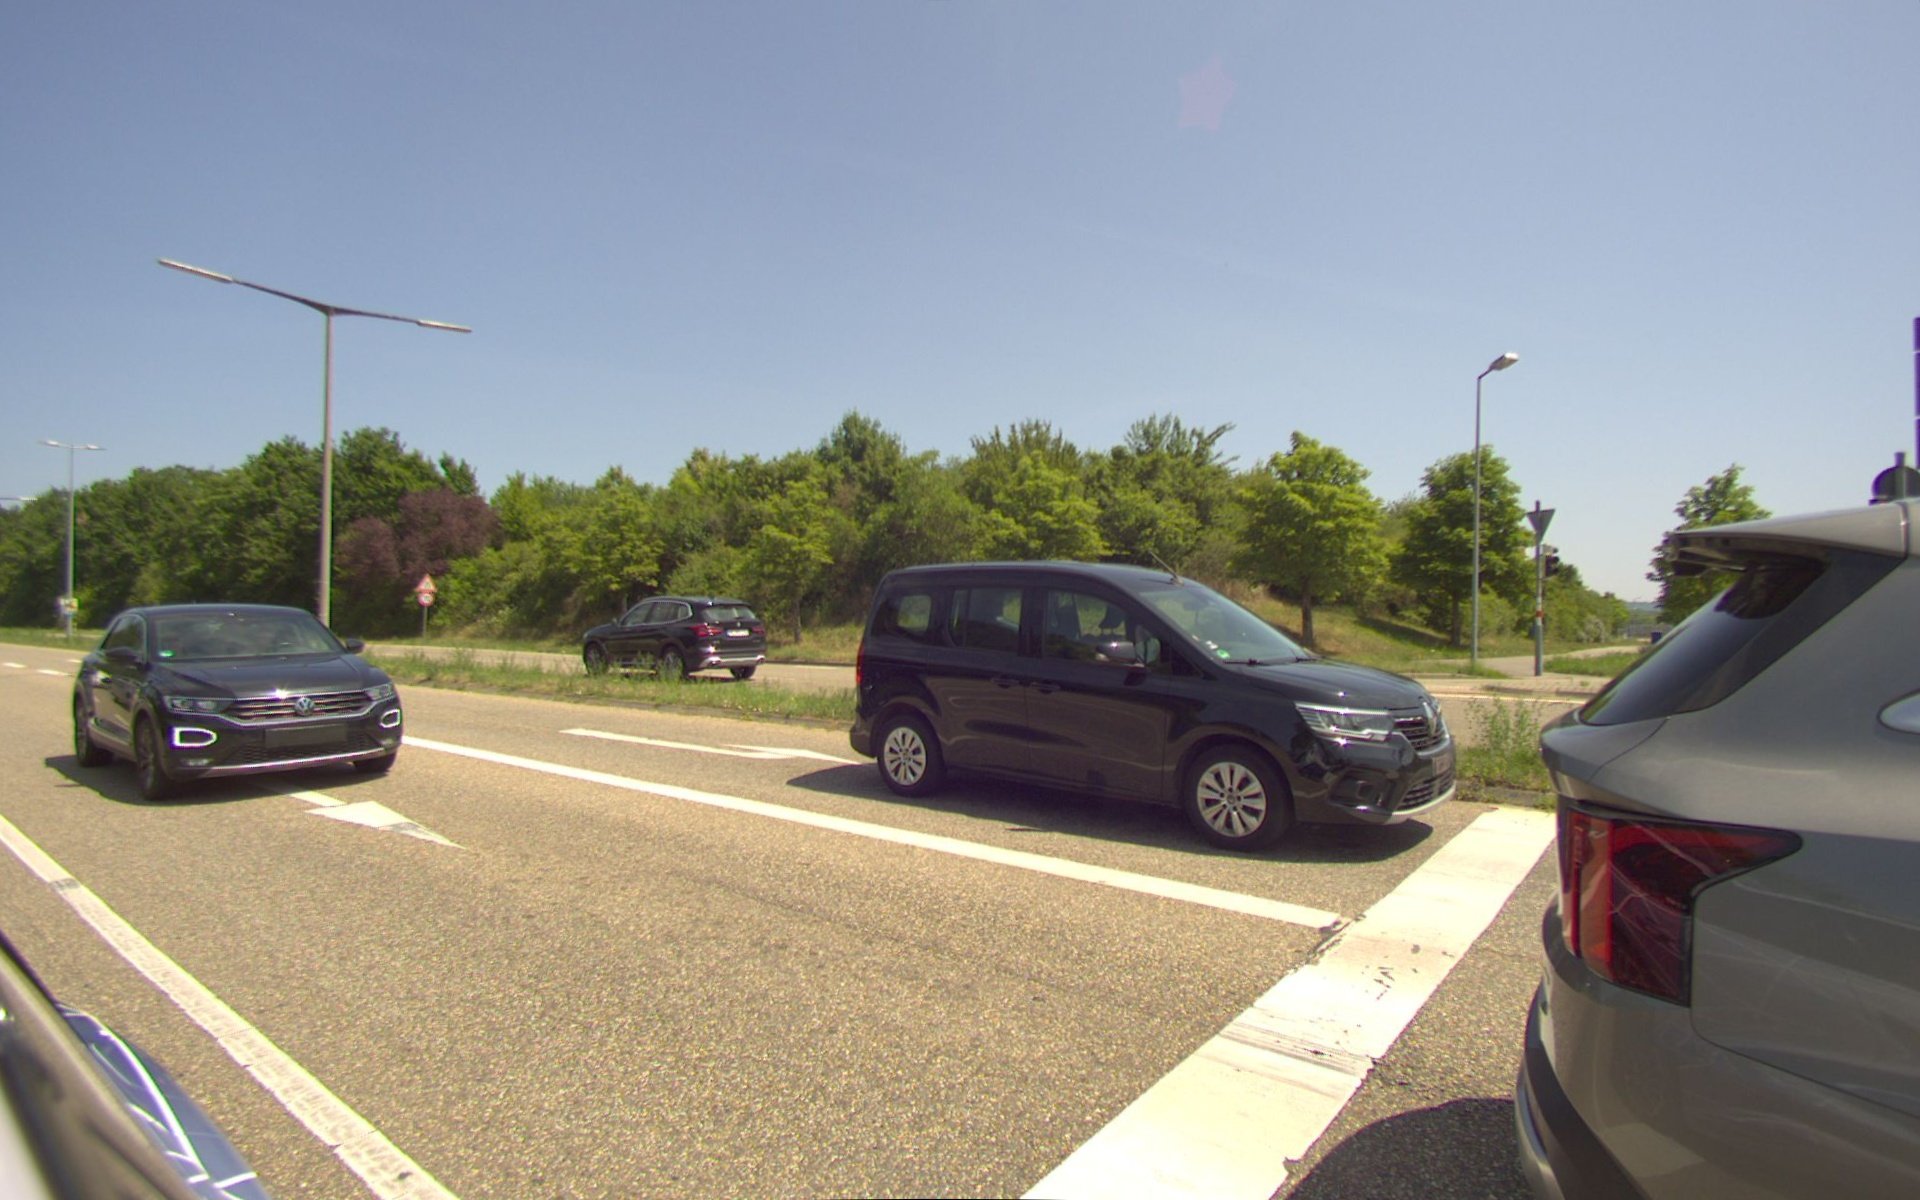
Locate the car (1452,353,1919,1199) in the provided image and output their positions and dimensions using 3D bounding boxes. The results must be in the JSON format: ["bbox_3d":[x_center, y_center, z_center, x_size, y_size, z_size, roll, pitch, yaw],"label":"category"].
[{"bbox_3d":[3.098,0.535,0.743,4.641,1.675,1.785,-1,-1,40],"label":"car"}]

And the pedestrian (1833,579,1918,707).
[{"bbox_3d":[12.910,0.596,14.291,0.578,1.749,0.788,-1,-1,18],"label":"pedestrian"}]

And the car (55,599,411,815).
[{"bbox_3d":[-6.693,0.783,9.159,3.968,1.523,1.717,-1,0,40],"label":"car"}]

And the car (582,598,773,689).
[{"bbox_3d":[-5.814,0.843,20.603,4.220,1.676,1.689,-1,-2,41],"label":"car"}]

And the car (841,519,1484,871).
[{"bbox_3d":[1.234,0.533,7.369,4.318,1.840,1.713,-1,-1,41],"label":"car"}]

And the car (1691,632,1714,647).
[{"bbox_3d":[66.447,3.518,90.574,1.630,1.371,3.950,-1,-2,37],"label":"car"}]

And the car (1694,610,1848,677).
[{"bbox_3d":[19.791,1.104,24.653,4.239,1.513,1.883,3,-5,-37],"label":"car"}]

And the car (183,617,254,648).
[{"bbox_3d":[-36.916,1.582,50.362,4.163,1.467,1.805,-1,-2,38],"label":"car"}]
